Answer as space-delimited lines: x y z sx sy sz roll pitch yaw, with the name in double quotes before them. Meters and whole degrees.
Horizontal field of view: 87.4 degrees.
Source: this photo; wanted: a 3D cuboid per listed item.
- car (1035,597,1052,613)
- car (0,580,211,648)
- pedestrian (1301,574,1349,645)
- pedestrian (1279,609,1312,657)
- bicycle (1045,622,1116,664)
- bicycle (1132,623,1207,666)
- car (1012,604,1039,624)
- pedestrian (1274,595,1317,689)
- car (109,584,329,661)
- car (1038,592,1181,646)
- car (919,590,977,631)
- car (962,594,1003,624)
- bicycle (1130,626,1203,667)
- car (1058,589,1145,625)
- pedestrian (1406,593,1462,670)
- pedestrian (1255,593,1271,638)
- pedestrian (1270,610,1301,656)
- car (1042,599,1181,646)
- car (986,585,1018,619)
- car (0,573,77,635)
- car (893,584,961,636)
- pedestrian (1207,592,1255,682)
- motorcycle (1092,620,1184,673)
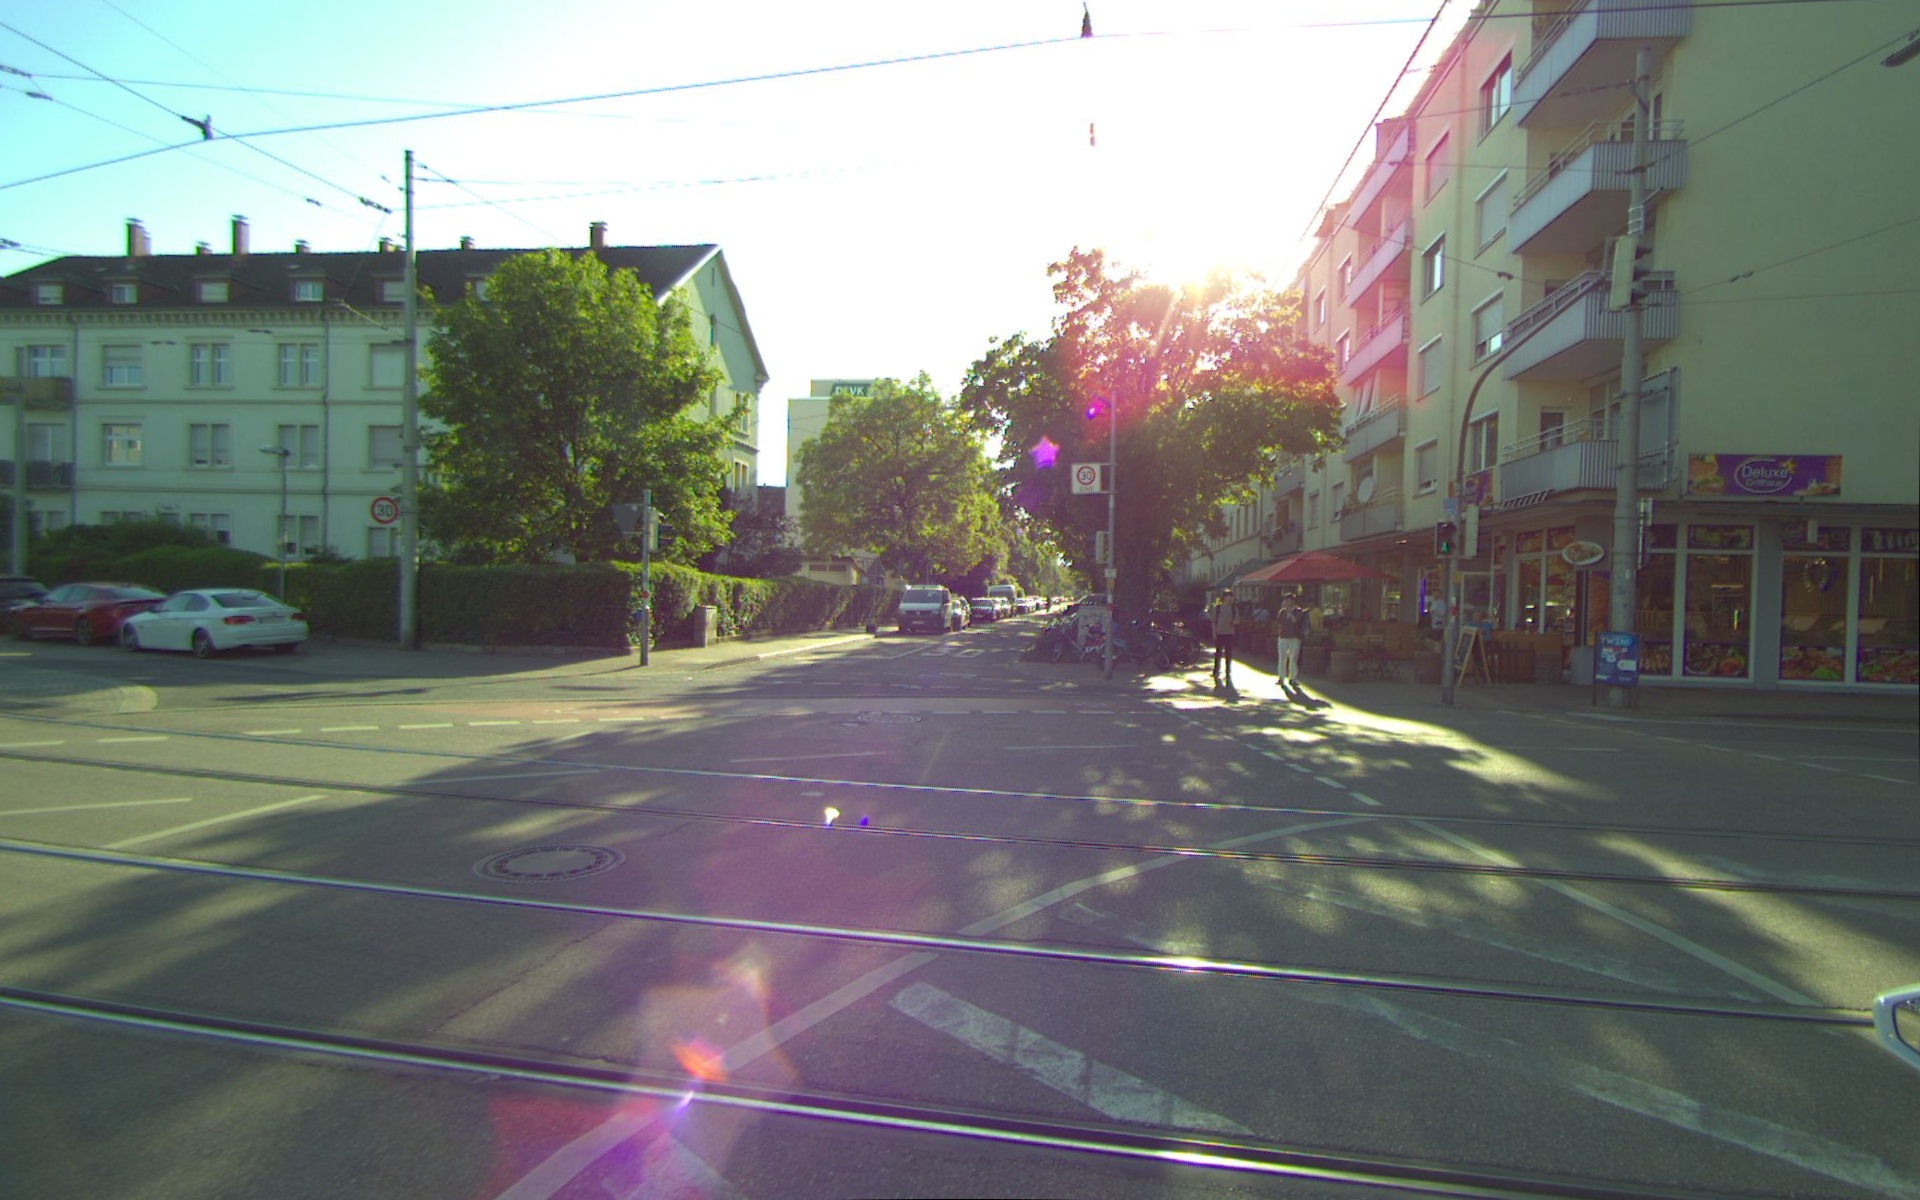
"car" 10.215 0.667 122.534 1.960 1.711 4.003 5 -1 5
"car" -20.463 0.282 24.006 4.614 1.395 1.986 2 3 22
"pedestrian" 9.511 0.242 26.171 0.906 1.795 0.805 1 1 -38
"pedestrian" 9.956 0.960 29.839 0.797 1.380 0.914 1 0 12
"bicycle" 2.966 1.054 24.813 1.694 0.945 0.672 1 0 7
"bicycle" 5.007 1.063 24.056 1.694 0.945 0.562 1 0 7
"car" 6.268 1.367 95.359 1.960 1.639 4.003 5 -1 11
"pedestrian" 6.517 0.794 19.489 0.680 1.774 0.840 2 1 23
"car" -15.944 0.413 21.612 4.412 1.395 1.928 2 3 25
"car" 5.986 0.772 40.739 5.525 1.949 2.364 2 -2 4
"car" -0.510 0.500 48.928 2.315 1.819 5.311 2 0 4
"car" 1.466 0.548 63.925 2.315 1.819 5.311 2 0 4
"bicycle" 5.090 1.135 24.821 1.694 0.945 0.562 1 0 7
"car" 8.475 0.454 60.487 5.004 1.949 2.364 2 -2 4
"pedestrian" 11.305 0.739 23.988 0.896 1.795 0.813 1 1 -4
"pedestrian" 14.040 0.706 46.605 0.527 2.040 0.511 1 1 -1
"pedestrian" 10.094 1.006 31.163 0.797 1.380 0.914 1 0 12
"car" 5.671 0.866 38.166 5.004 1.577 2.364 2 -2 4
"car" 3.361 0.149 79.694 2.315 2.548 5.311 2 0 4
"car" -25.780 0.057 26.614 4.618 1.467 1.984 2 3 27
"car" -1.321 0.393 42.767 2.315 2.040 5.311 2 0 4
"pedestrian" 5.508 0.738 20.470 0.680 1.774 0.794 2 1 -4
"motorcycle" 3.996 1.034 22.666 1.919 1.124 0.837 1 0 1
